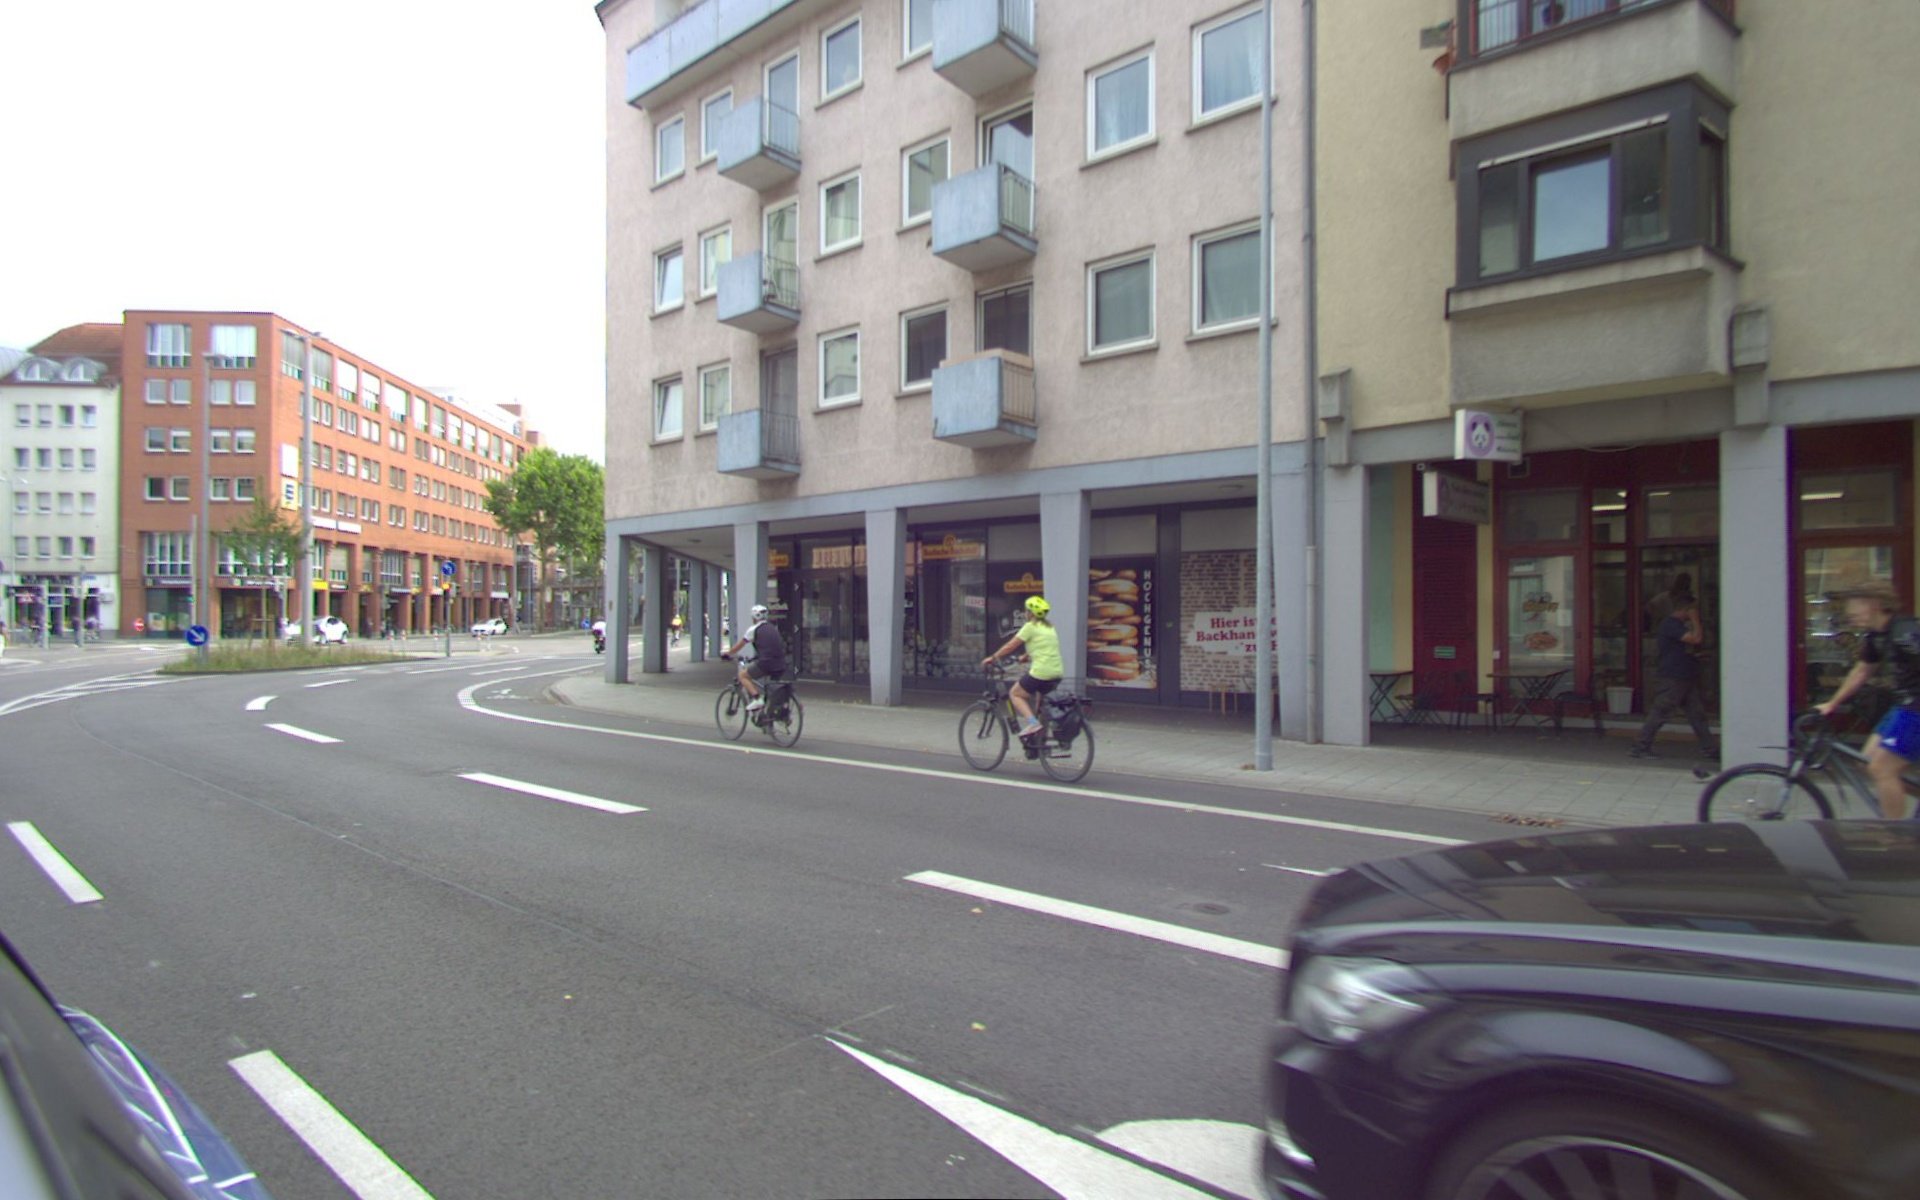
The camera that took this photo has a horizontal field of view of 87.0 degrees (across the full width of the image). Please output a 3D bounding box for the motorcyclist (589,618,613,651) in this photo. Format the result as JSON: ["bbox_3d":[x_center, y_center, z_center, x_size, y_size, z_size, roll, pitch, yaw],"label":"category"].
[{"bbox_3d":[-16.232,1.572,45.793,0.786,1.471,0.866,2,-2,-5],"label":"motorcyclist"}]

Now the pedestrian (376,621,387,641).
[{"bbox_3d":[-47.361,2.564,82.890,0.402,1.644,0.731,1,-1,3],"label":"pedestrian"}]

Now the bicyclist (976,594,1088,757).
[{"bbox_3d":[0.712,0.726,10.089,0.841,1.537,0.649,-3,-2,45],"label":"bicyclist"}]

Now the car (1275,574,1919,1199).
[{"bbox_3d":[2.912,0.667,1.073,4.605,1.418,1.792,-1,-2,41],"label":"car"}]

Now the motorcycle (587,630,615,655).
[{"bbox_3d":[-16.251,1.933,45.898,0.713,1.103,2.038,2,-2,-6],"label":"motorcycle"}]

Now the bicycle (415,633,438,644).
[{"bbox_3d":[-50.087,3.597,95.029,1.832,1.048,0.508,0,-2,-4],"label":"bicycle"}]

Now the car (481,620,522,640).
[{"bbox_3d":[-39.560,2.566,87.433,1.929,1.613,4.004,0,-1,-4],"label":"car"}]

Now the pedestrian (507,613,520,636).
[{"bbox_3d":[-35.970,1.960,81.551,0.683,1.889,0.807,0,-2,-4],"label":"pedestrian"}]

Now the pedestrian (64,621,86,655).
[{"bbox_3d":[-47.832,2.039,54.696,0.560,1.838,0.696,0,-2,-5],"label":"pedestrian"}]

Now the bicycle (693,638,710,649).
[{"bbox_3d":[-14.054,2.363,55.074,0.478,0.593,1.999,0,-1,-2],"label":"bicycle"}]

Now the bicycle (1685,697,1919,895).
[{"bbox_3d":[5.562,1.137,5.965,1.976,1.014,0.729,-3,-1,44],"label":"bicycle"}]

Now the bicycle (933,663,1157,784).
[{"bbox_3d":[0.782,1.160,10.046,0.729,1.014,2.253,-1,-1,-45],"label":"bicycle"}]

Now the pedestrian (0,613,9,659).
[{"bbox_3d":[-42.178,1.560,44.248,0.710,1.986,1.015,4,-5,-41],"label":"pedestrian"}]

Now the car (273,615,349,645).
[{"bbox_3d":[-36.192,1.672,56.539,1.929,1.613,4.004,0,-1,-4],"label":"car"}]

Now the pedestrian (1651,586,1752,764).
[{"bbox_3d":[7.744,0.749,10.568,0.783,1.770,0.575,-1,0,41],"label":"pedestrian"}]

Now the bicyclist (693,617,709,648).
[{"bbox_3d":[-14.104,1.749,55.136,0.601,1.658,1.038,0,-2,-2],"label":"bicyclist"}]

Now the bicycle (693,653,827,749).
[{"bbox_3d":[-2.578,1.245,12.919,0.729,1.014,1.910,1,1,-45],"label":"bicycle"}]

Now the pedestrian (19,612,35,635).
[{"bbox_3d":[-60.576,1.533,65.720,0.628,1.523,0.586,-2,-2,33],"label":"pedestrian"}]

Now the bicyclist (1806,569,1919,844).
[{"bbox_3d":[5.576,0.592,5.915,0.857,1.537,0.649,-3,-2,45],"label":"bicyclist"}]

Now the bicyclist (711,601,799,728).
[{"bbox_3d":[-2.641,0.792,13.018,1.003,1.537,0.649,0,1,45],"label":"bicyclist"}]

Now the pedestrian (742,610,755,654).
[{"bbox_3d":[-8.652,1.307,41.349,0.470,1.779,0.590,0,-2,-5],"label":"pedestrian"}]

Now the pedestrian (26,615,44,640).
[{"bbox_3d":[-60.814,1.809,66.535,0.719,1.660,0.699,-2,-2,33],"label":"pedestrian"}]

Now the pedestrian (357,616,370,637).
[{"bbox_3d":[-47.528,2.115,80.627,0.637,1.709,0.699,1,-1,-7],"label":"pedestrian"}]
